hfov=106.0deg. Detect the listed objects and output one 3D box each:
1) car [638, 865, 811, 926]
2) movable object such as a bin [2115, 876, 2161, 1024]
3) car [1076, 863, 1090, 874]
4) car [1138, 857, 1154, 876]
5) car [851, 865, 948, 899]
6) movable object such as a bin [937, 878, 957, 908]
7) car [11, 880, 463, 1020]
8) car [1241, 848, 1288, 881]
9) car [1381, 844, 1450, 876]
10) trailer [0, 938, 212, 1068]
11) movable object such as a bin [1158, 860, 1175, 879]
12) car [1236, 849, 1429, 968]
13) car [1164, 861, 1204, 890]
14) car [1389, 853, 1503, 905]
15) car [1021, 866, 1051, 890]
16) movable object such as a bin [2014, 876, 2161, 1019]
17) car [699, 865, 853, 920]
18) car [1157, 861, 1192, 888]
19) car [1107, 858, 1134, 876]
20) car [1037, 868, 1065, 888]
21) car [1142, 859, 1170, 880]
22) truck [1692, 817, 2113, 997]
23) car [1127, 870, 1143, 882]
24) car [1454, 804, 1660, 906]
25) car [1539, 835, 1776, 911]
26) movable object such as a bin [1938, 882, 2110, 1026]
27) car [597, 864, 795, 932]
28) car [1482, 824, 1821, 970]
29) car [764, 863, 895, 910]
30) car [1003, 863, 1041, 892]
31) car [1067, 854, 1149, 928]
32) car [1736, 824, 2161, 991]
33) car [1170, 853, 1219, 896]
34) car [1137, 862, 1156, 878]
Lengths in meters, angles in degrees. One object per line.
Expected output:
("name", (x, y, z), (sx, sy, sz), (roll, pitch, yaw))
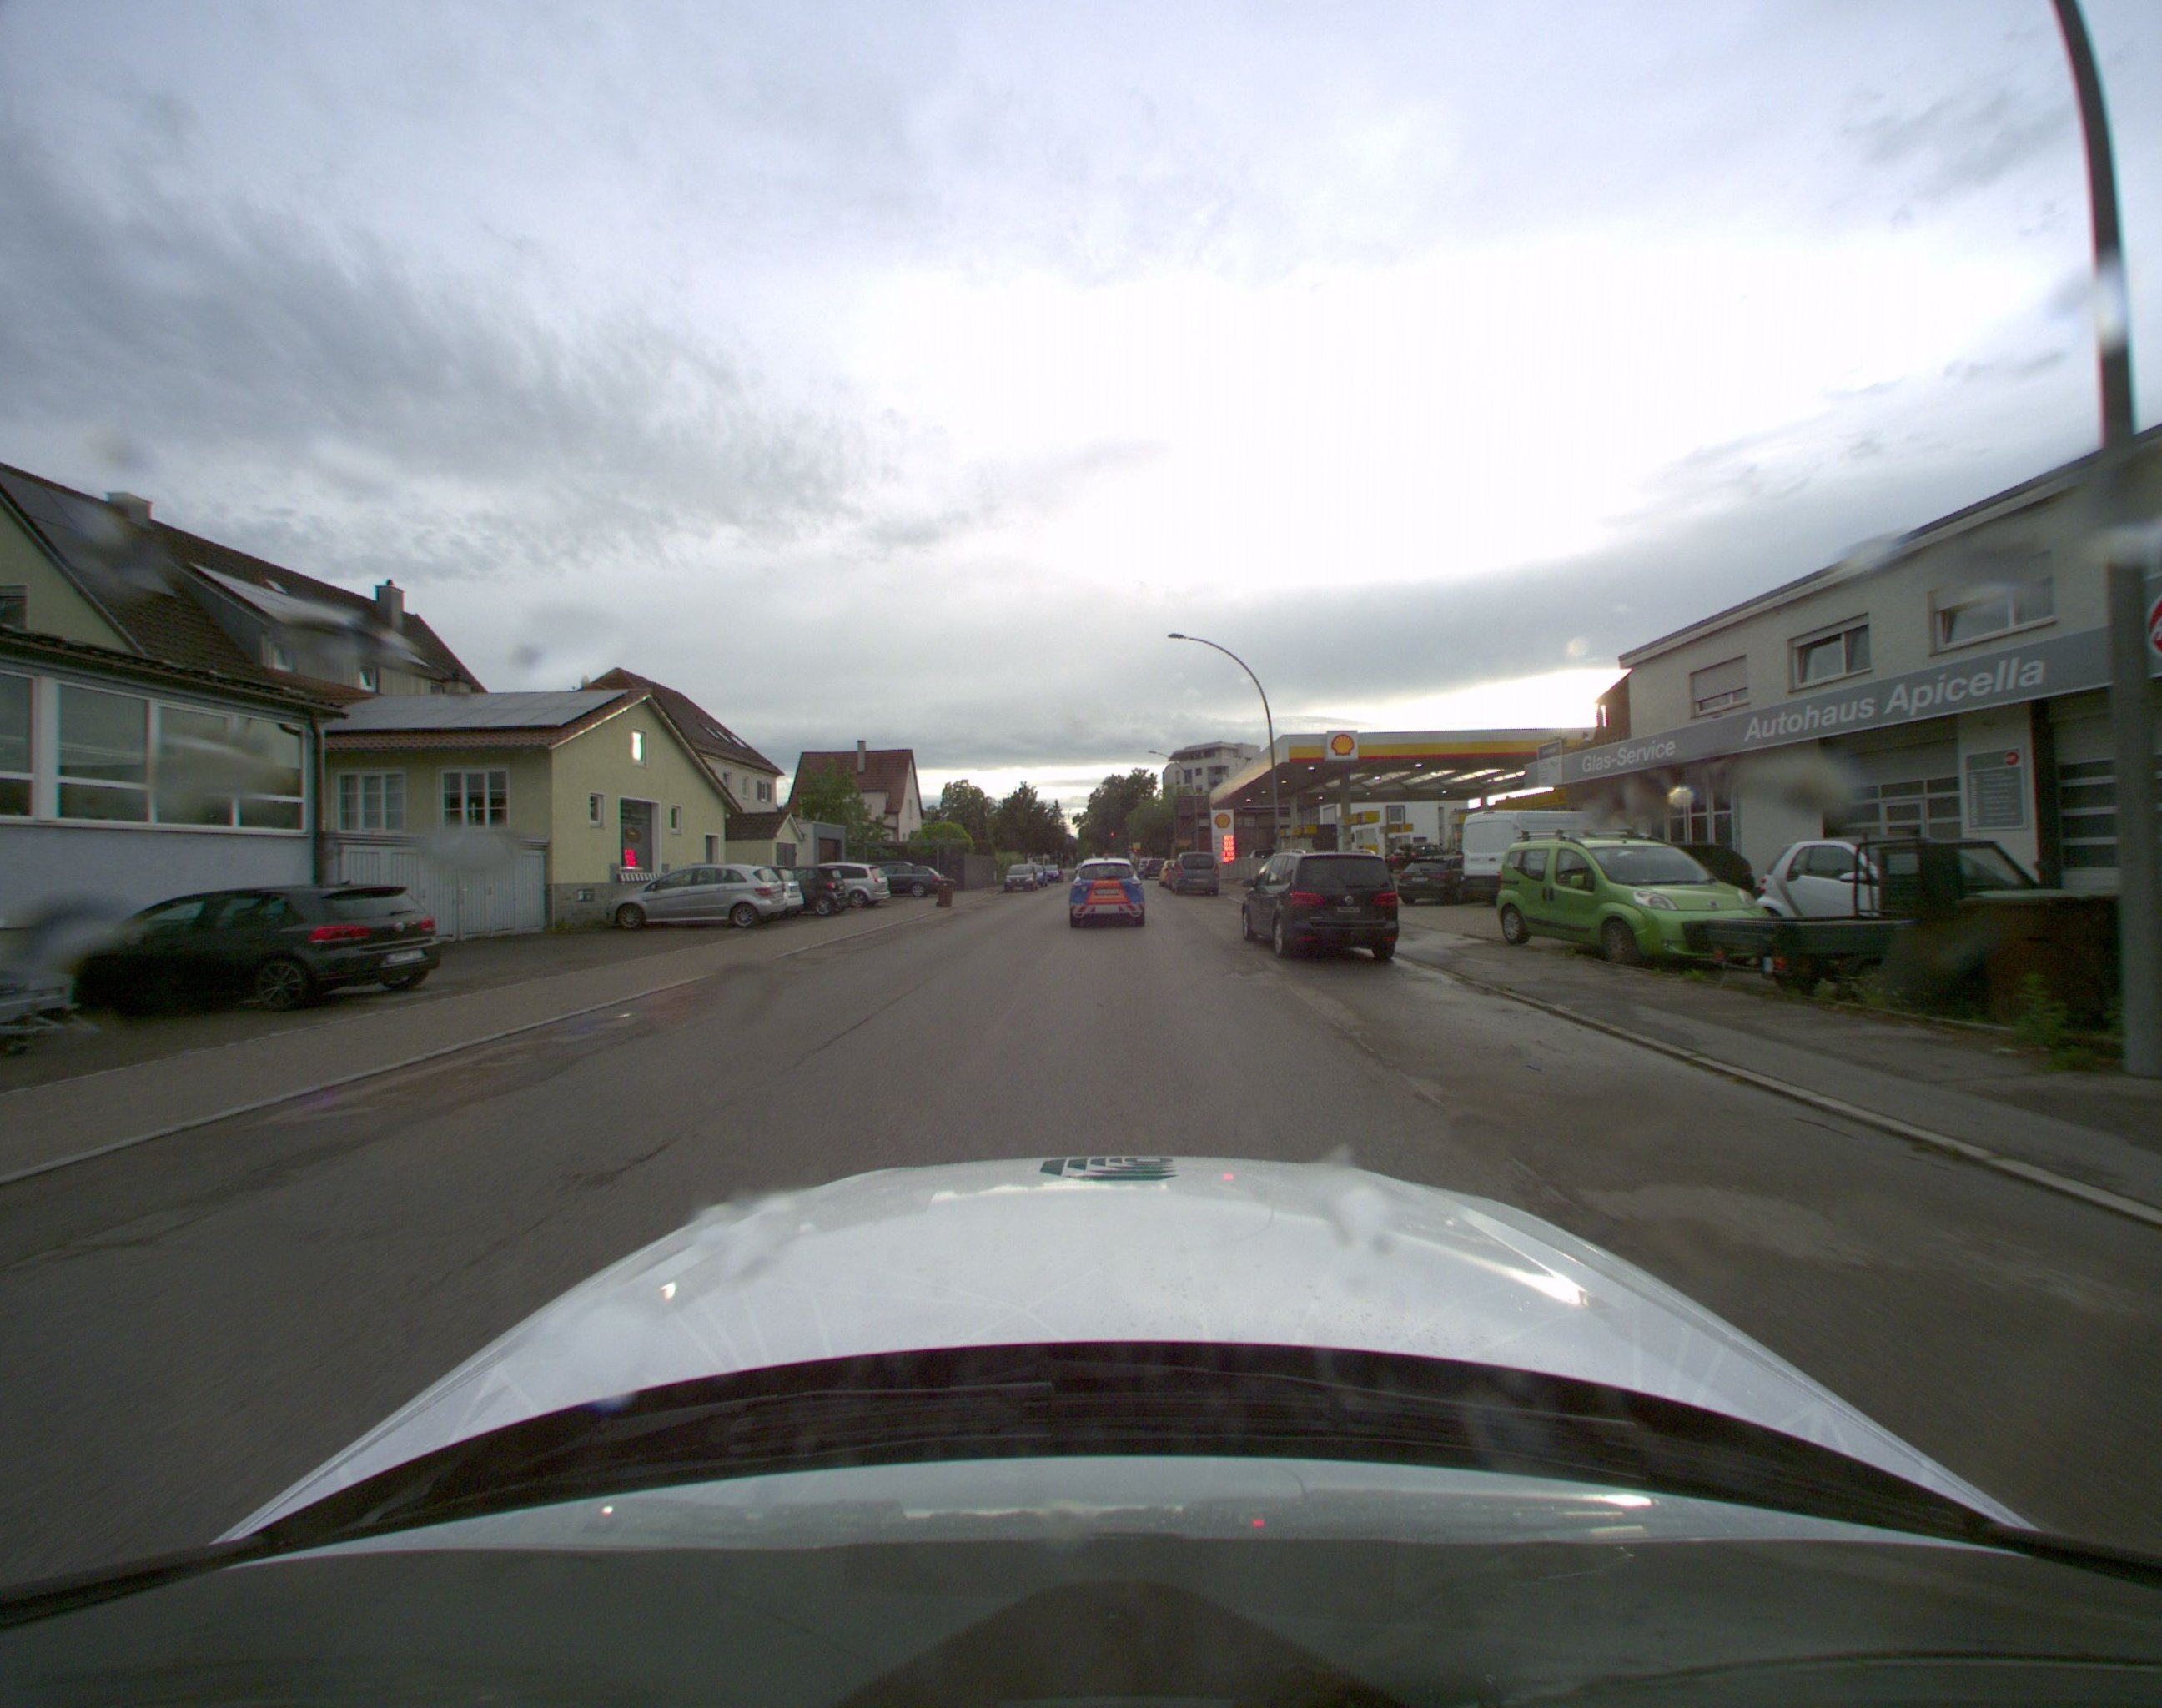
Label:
("car", (-10.069, 1.151, 23.210), (4.073, 1.533, 1.812), (-2, 0, -2))
("movable object such as a bin", (8.234, 0.706, 5.902), (0.572, 1.075, 0.682), (-2, -1, 1))
("car", (0.251, 1.985, 110.422), (1.619, 1.433, 3.688), (-2, -1, 4))
("car", (7.502, 1.405, 93.910), (1.769, 2.029, 4.760), (0, 0, 5))
("car", (-8.213, 1.256, 37.174), (4.077, 1.414, 1.711), (-1, 0, -5))
("movable object such as a bin", (-5.122, 1.480, 31.157), (0.593, 1.057, 0.687), (3, 1, 2))
("car", (-10.453, 1.143, 10.318), (3.860, 1.438, 1.768), (-2, 0, 1))
("car", (10.668, 0.607, 47.658), (1.814, 1.759, 3.999), (-2, -1, 0))
("car", (16.873, 0.313, 41.328), (1.733, 1.466, 4.675), (-2, 0, 2))
("trailer", (-11.334, 1.422, 7.728), (4.183, 0.943, 1.794), (-2, 0, -1))
("movable object such as a bin", (6.640, 1.198, 63.441), (1.123, 1.388, 1.504), (-2, -1, 0))
("car", (3.894, 0.760, 13.394), (1.986, 1.596, 4.001), (-2, 0, 1))
("car", (5.154, 1.053, 41.108), (1.650, 1.376, 4.026), (-1, -1, 2))
("car", (11.033, 0.715, 24.472), (4.023, 1.374, 1.758), (-1, 0, -45))
("car", (-2.926, 1.572, 53.638), (1.539, 1.403, 3.599), (-3, -1, 3))
("movable object such as a bin", (8.283, 0.731, 6.627), (0.572, 1.075, 0.682), (-2, -1, 1))
("car", (-9.333, 1.165, 25.184), (4.075, 1.503, 1.754), (-2, 0, -4))
("car", (5.181, 1.124, 45.573), (1.650, 1.402, 3.803), (-1, -1, 2))
("car", (3.603, 1.150, 74.042), (1.982, 1.574, 4.010), (0, 0, 9))
("car", (-2.347, 1.836, 64.239), (1.799, 1.403, 3.947), (-3, -1, 3))
("car", (6.089, 1.240, 66.894), (2.083, 1.662, 4.562), (0, 0, 2))
("truck", (7.767, 0.497, 7.923), (2.539, 1.530, 1.330), (-2, -1, 10))
("car", (7.001, 2.812, 105.902), (1.789, 1.428, 3.999), (0, 0, -1))
("car", (12.952, -0.014, 22.214), (4.804, 2.520, 2.233), (-1, 0, -20))
("car", (13.566, 0.430, 19.344), (4.289, 1.573, 1.896), (-2, 0, -2))
("movable object such as a bin", (7.643, 0.784, 6.631), (0.572, 1.075, 0.682), (-2, -1, 1))
("car", (-9.761, 1.076, 20.938), (4.075, 1.533, 1.997), (-2, 0, -4))
("car", (7.804, 0.516, 11.722), (1.988, 1.683, 3.997), (-2, 0, -2))
("car", (-8.908, 1.123, 29.072), (4.075, 1.514, 1.881), (-2, 0, -4))
("car", (-3.278, 1.300, 45.889), (1.602, 1.506, 3.709), (-3, -1, 3))
("car", (0.683, 0.816, 19.894), (1.739, 1.581, 4.002), (-2, 0, 2))
("car", (10.402, 0.522, 9.891), (1.742, 1.519, 3.729), (-5, 0, -2))
("car", (4.838, 0.841, 35.253), (1.650, 1.738, 4.446), (1, -1, 2))
("car", (7.087, 1.682, 88.029), (1.858, 1.665, 4.322), (-1, -1, 2))
